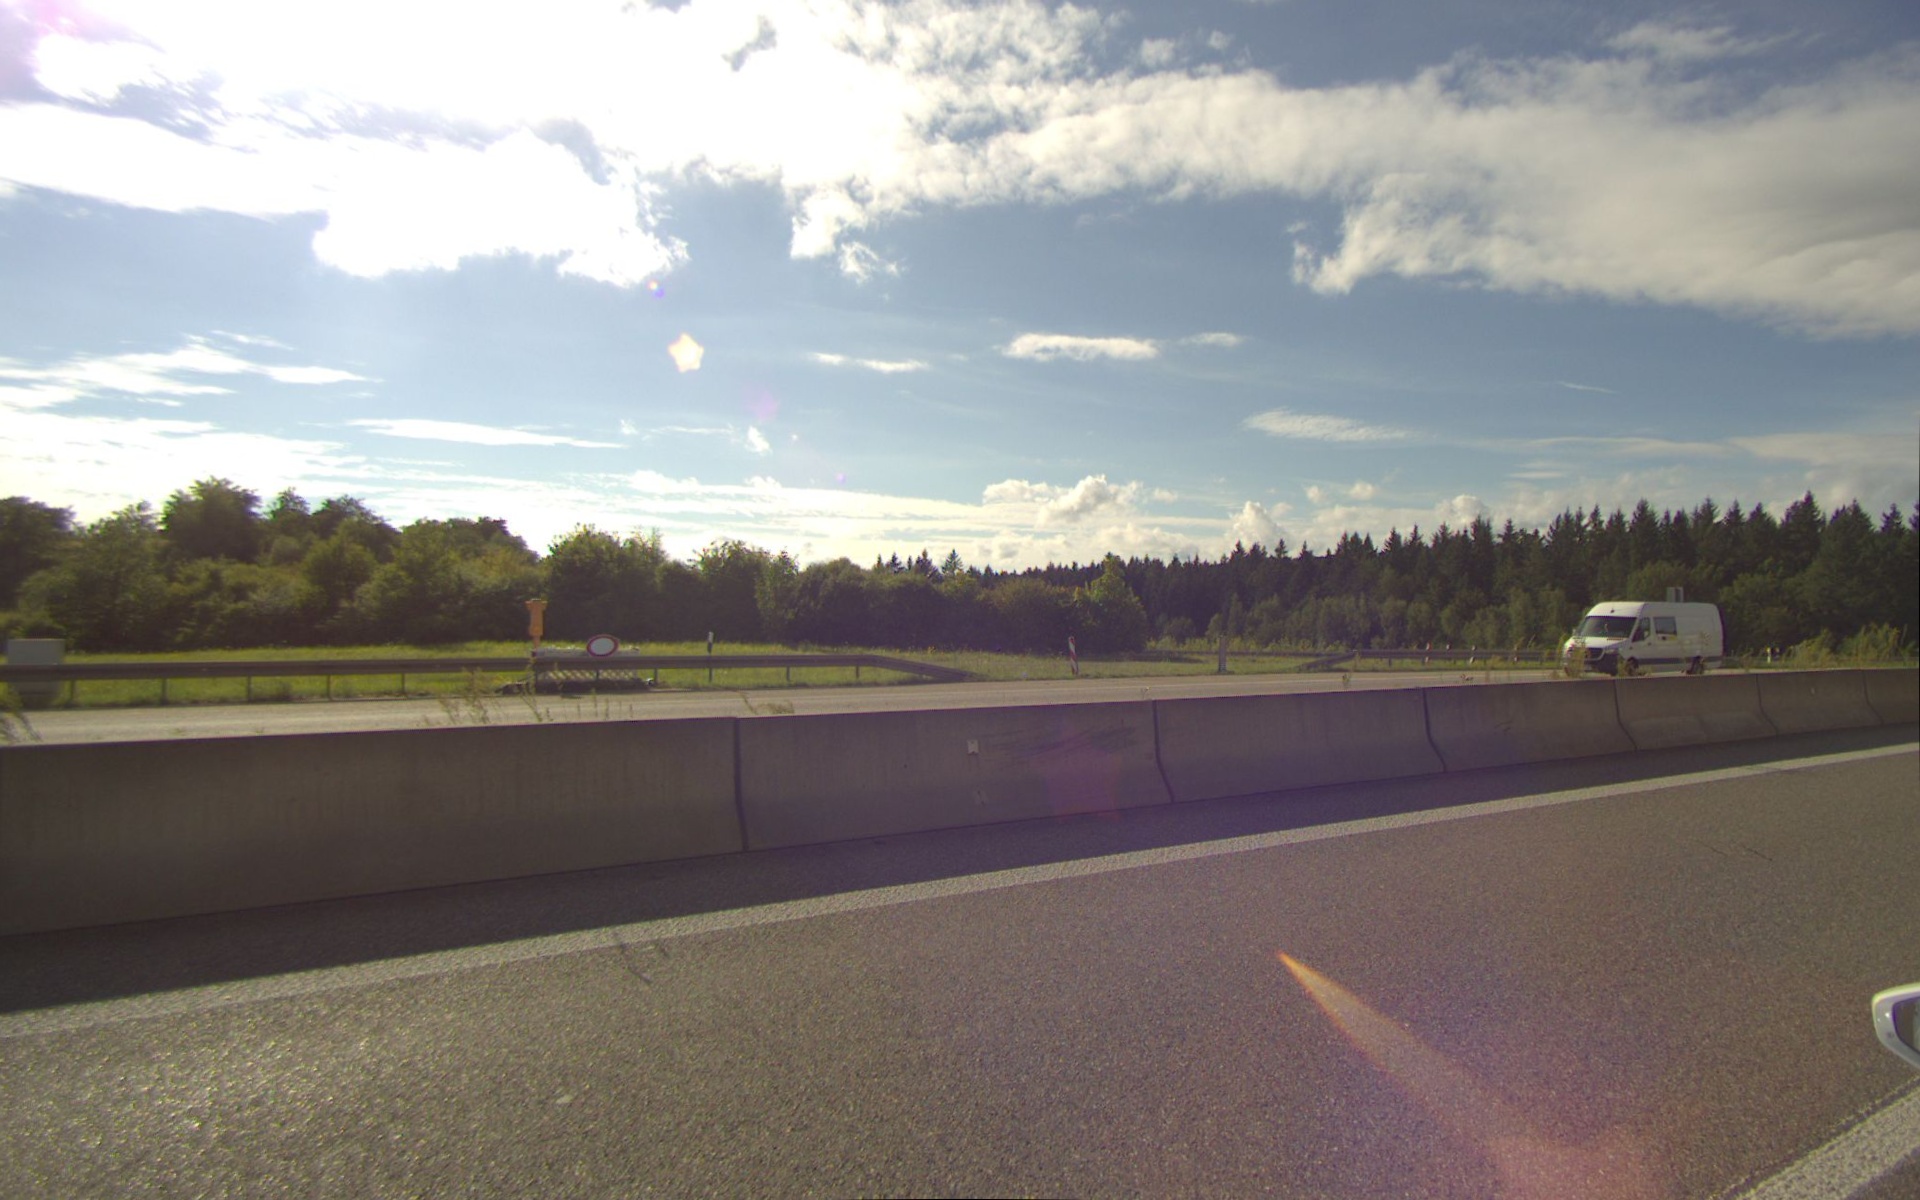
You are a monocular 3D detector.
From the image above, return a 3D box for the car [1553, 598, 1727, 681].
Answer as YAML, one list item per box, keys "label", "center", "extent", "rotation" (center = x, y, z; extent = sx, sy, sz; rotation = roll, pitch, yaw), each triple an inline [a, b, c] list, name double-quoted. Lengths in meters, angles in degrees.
- label: "car"
  center: [23.543, 1.350, 34.635]
  extent: [7.236, 2.613, 2.023]
  rotation: [2, 0, -31]
